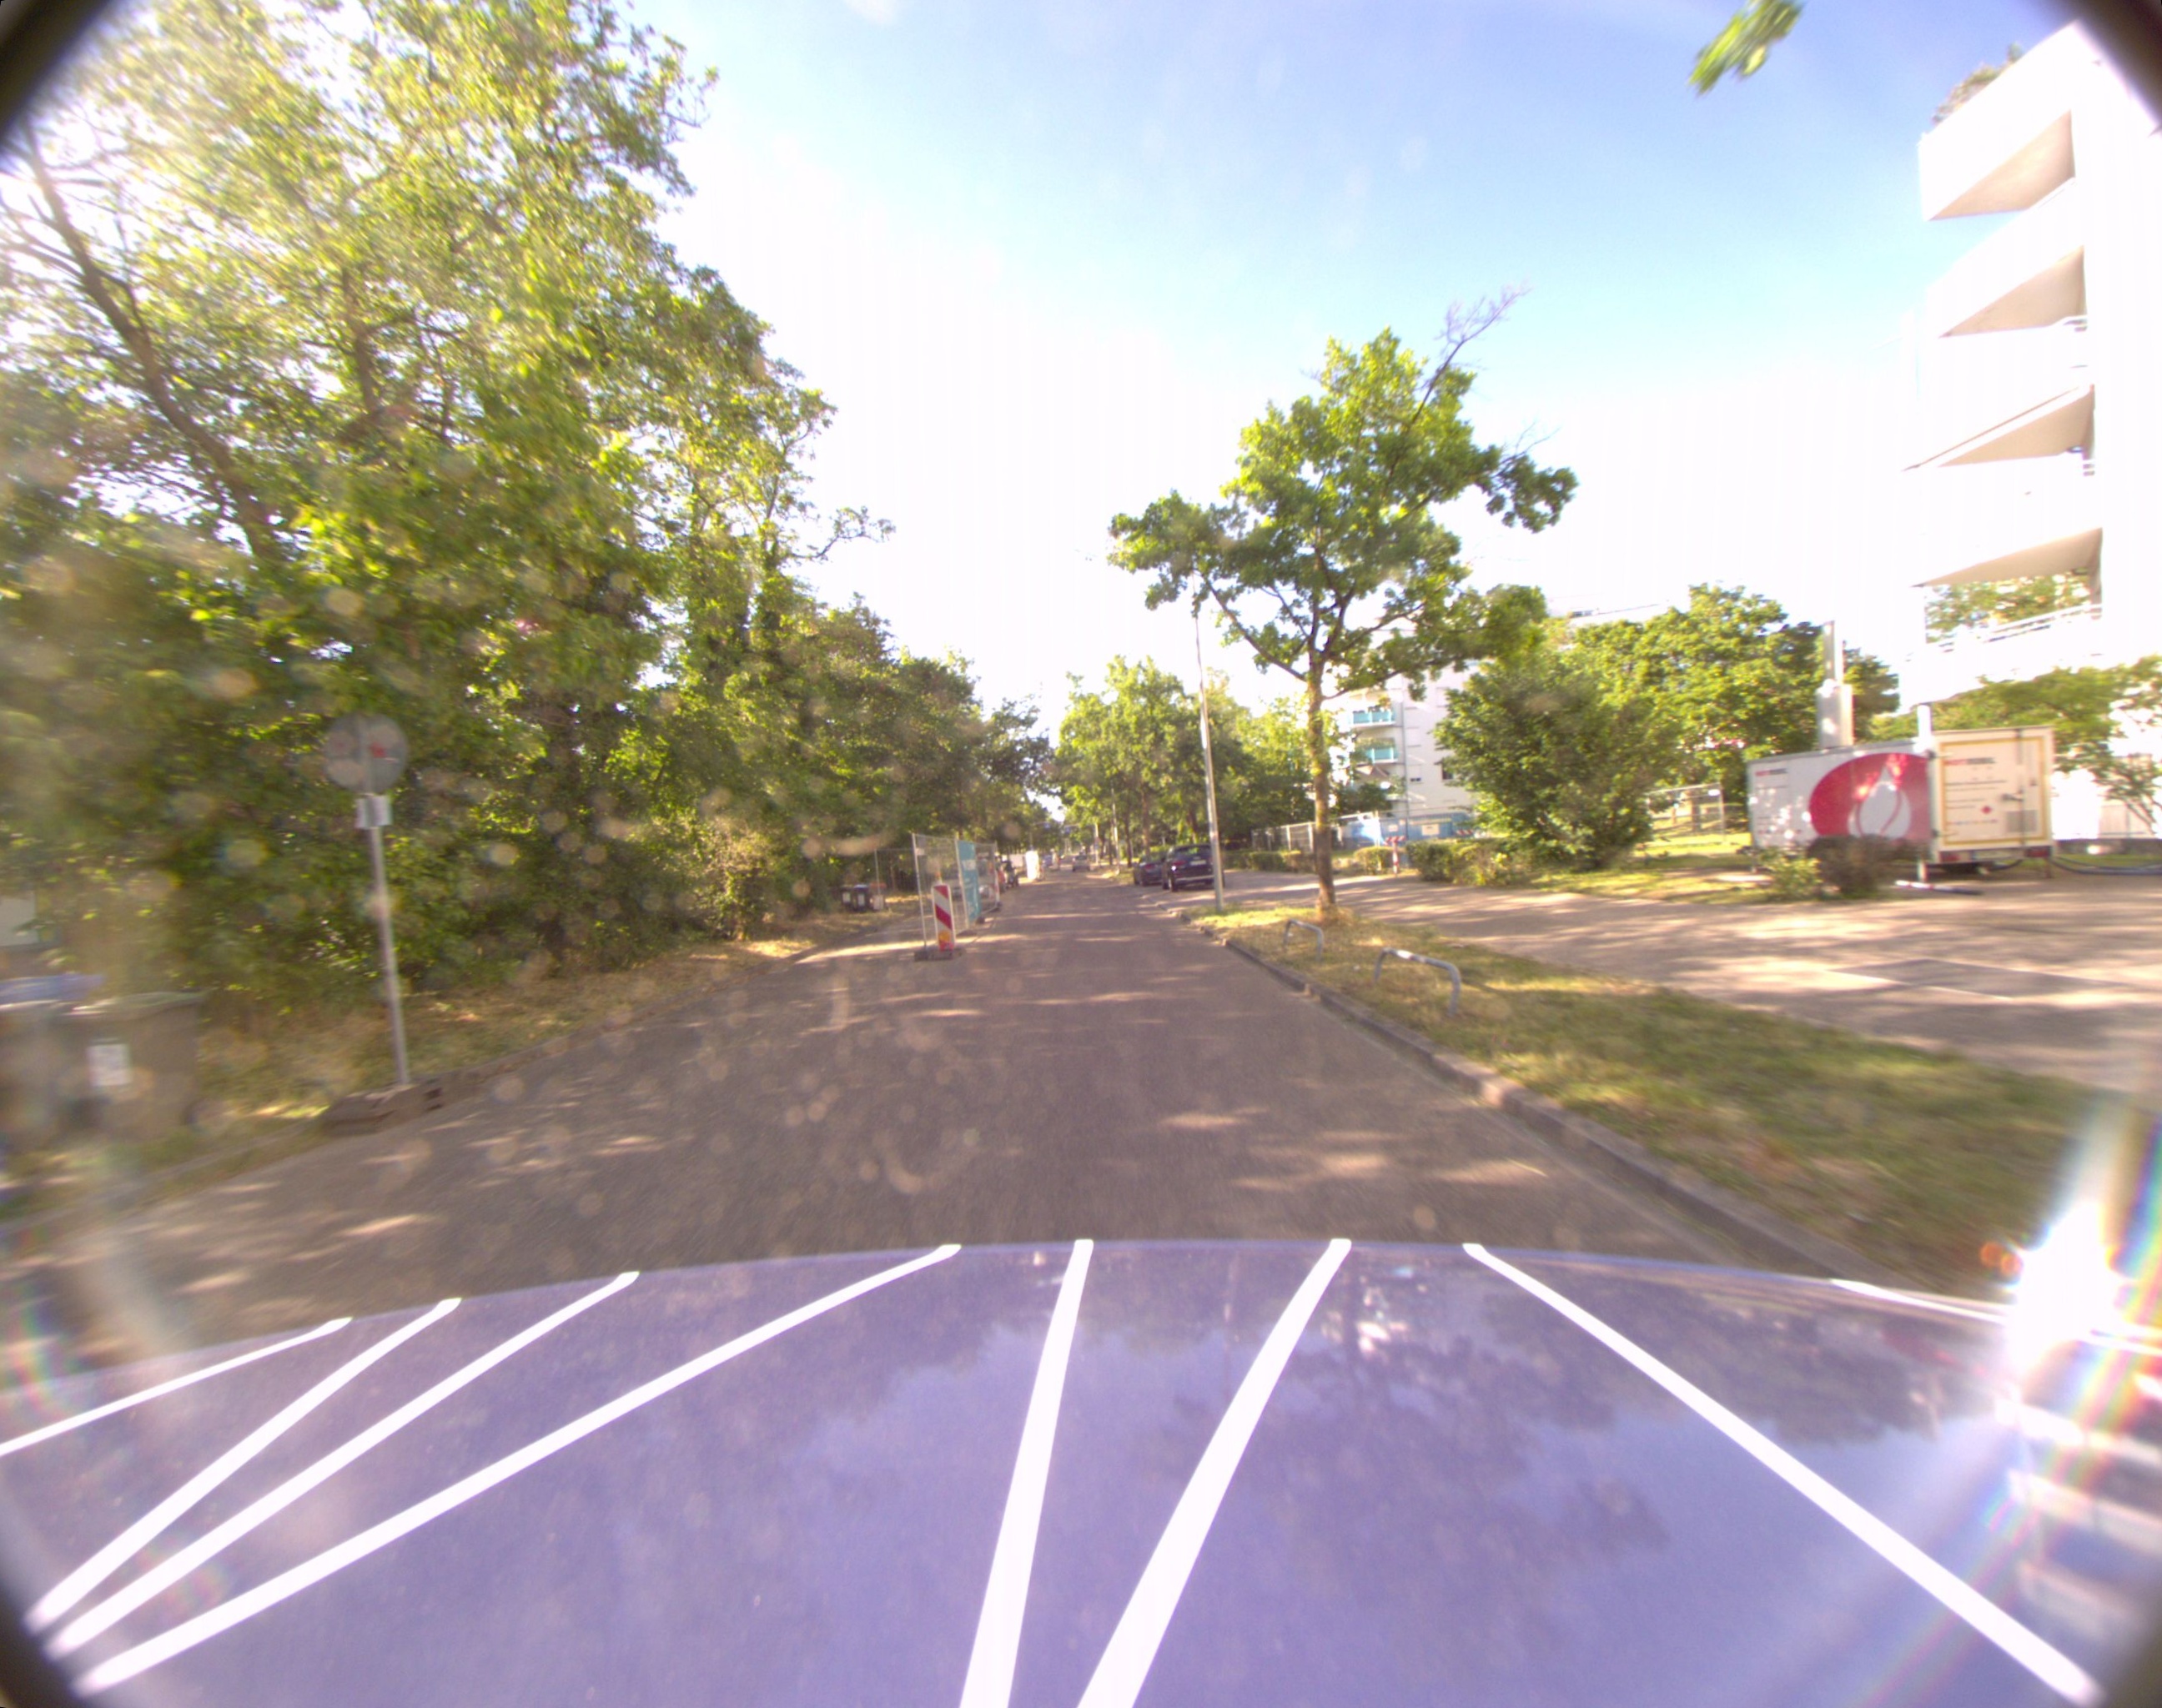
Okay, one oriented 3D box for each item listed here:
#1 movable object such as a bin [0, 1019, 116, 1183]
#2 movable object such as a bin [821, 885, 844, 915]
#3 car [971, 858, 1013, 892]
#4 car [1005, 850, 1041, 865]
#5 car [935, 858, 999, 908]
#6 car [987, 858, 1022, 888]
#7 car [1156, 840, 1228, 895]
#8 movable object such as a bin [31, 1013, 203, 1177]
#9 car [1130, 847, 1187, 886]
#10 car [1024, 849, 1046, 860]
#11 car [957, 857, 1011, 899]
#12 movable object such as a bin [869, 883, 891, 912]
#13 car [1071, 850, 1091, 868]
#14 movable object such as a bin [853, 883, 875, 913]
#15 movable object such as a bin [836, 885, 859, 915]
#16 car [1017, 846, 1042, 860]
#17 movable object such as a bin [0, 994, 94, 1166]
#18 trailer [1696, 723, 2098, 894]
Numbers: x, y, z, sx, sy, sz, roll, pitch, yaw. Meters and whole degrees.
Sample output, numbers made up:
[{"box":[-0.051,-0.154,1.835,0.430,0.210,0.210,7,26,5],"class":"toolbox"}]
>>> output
[{"box":[-6.550,1.517,4.727,0.414,0.865,0.484,-2,1,1],"class":"movable object such as a bin"},{"box":[-7.719,1.434,23.600,0.485,0.856,0.559,-4,1,-2],"class":"movable object such as a bin"},{"box":[-4.497,1.039,38.985,1.716,1.500,4.148,-5,0,-3],"class":"car"},{"box":[-8.882,0.511,116.716,5.269,1.993,2.000,-3,0,-2],"class":"car"},{"box":[-4.241,1.027,28.835,1.683,1.612,4.137,-5,0,-1],"class":"car"},{"box":[-4.337,1.045,43.474,1.497,1.500,2.677,-5,0,2],"class":"car"},{"box":[3.800,0.420,26.689,1.780,1.612,4.220,-6,0,0],"class":"car"},{"box":[-6.057,1.497,4.795,0.414,0.865,0.484,-2,1,1],"class":"movable object such as a bin"},{"box":[3.319,0.531,33.159,1.721,1.424,4.136,-6,0,-3],"class":"car"},{"box":[-9.087,0.080,149.397,4.245,1.993,1.565,-3,0,-4],"class":"car"},{"box":[-4.291,1.023,34.137,1.683,1.565,4.066,-5,0,1],"class":"car"},{"box":[-6.238,1.350,23.603,0.485,0.856,0.559,-4,1,-2],"class":"movable object such as a bin"},{"box":[-0.026,0.465,73.334,1.664,1.587,4.007,-2,0,-2],"class":"car"},{"box":[-6.729,1.366,23.577,0.485,0.856,0.559,-4,1,-2],"class":"movable object such as a bin"},{"box":[-7.224,1.414,23.558,0.485,0.856,0.559,-4,1,-2],"class":"movable object such as a bin"},{"box":[-9.780,-0.218,144.129,4.412,2.531,1.888,-3,0,-4],"class":"car"},{"box":[-7.070,1.470,4.913,0.520,0.994,0.608,-2,1,1],"class":"movable object such as a bin"},{"box":[12.678,-0.627,12.349,1.868,2.108,4.346,-6,0,4],"class":"trailer"}]
